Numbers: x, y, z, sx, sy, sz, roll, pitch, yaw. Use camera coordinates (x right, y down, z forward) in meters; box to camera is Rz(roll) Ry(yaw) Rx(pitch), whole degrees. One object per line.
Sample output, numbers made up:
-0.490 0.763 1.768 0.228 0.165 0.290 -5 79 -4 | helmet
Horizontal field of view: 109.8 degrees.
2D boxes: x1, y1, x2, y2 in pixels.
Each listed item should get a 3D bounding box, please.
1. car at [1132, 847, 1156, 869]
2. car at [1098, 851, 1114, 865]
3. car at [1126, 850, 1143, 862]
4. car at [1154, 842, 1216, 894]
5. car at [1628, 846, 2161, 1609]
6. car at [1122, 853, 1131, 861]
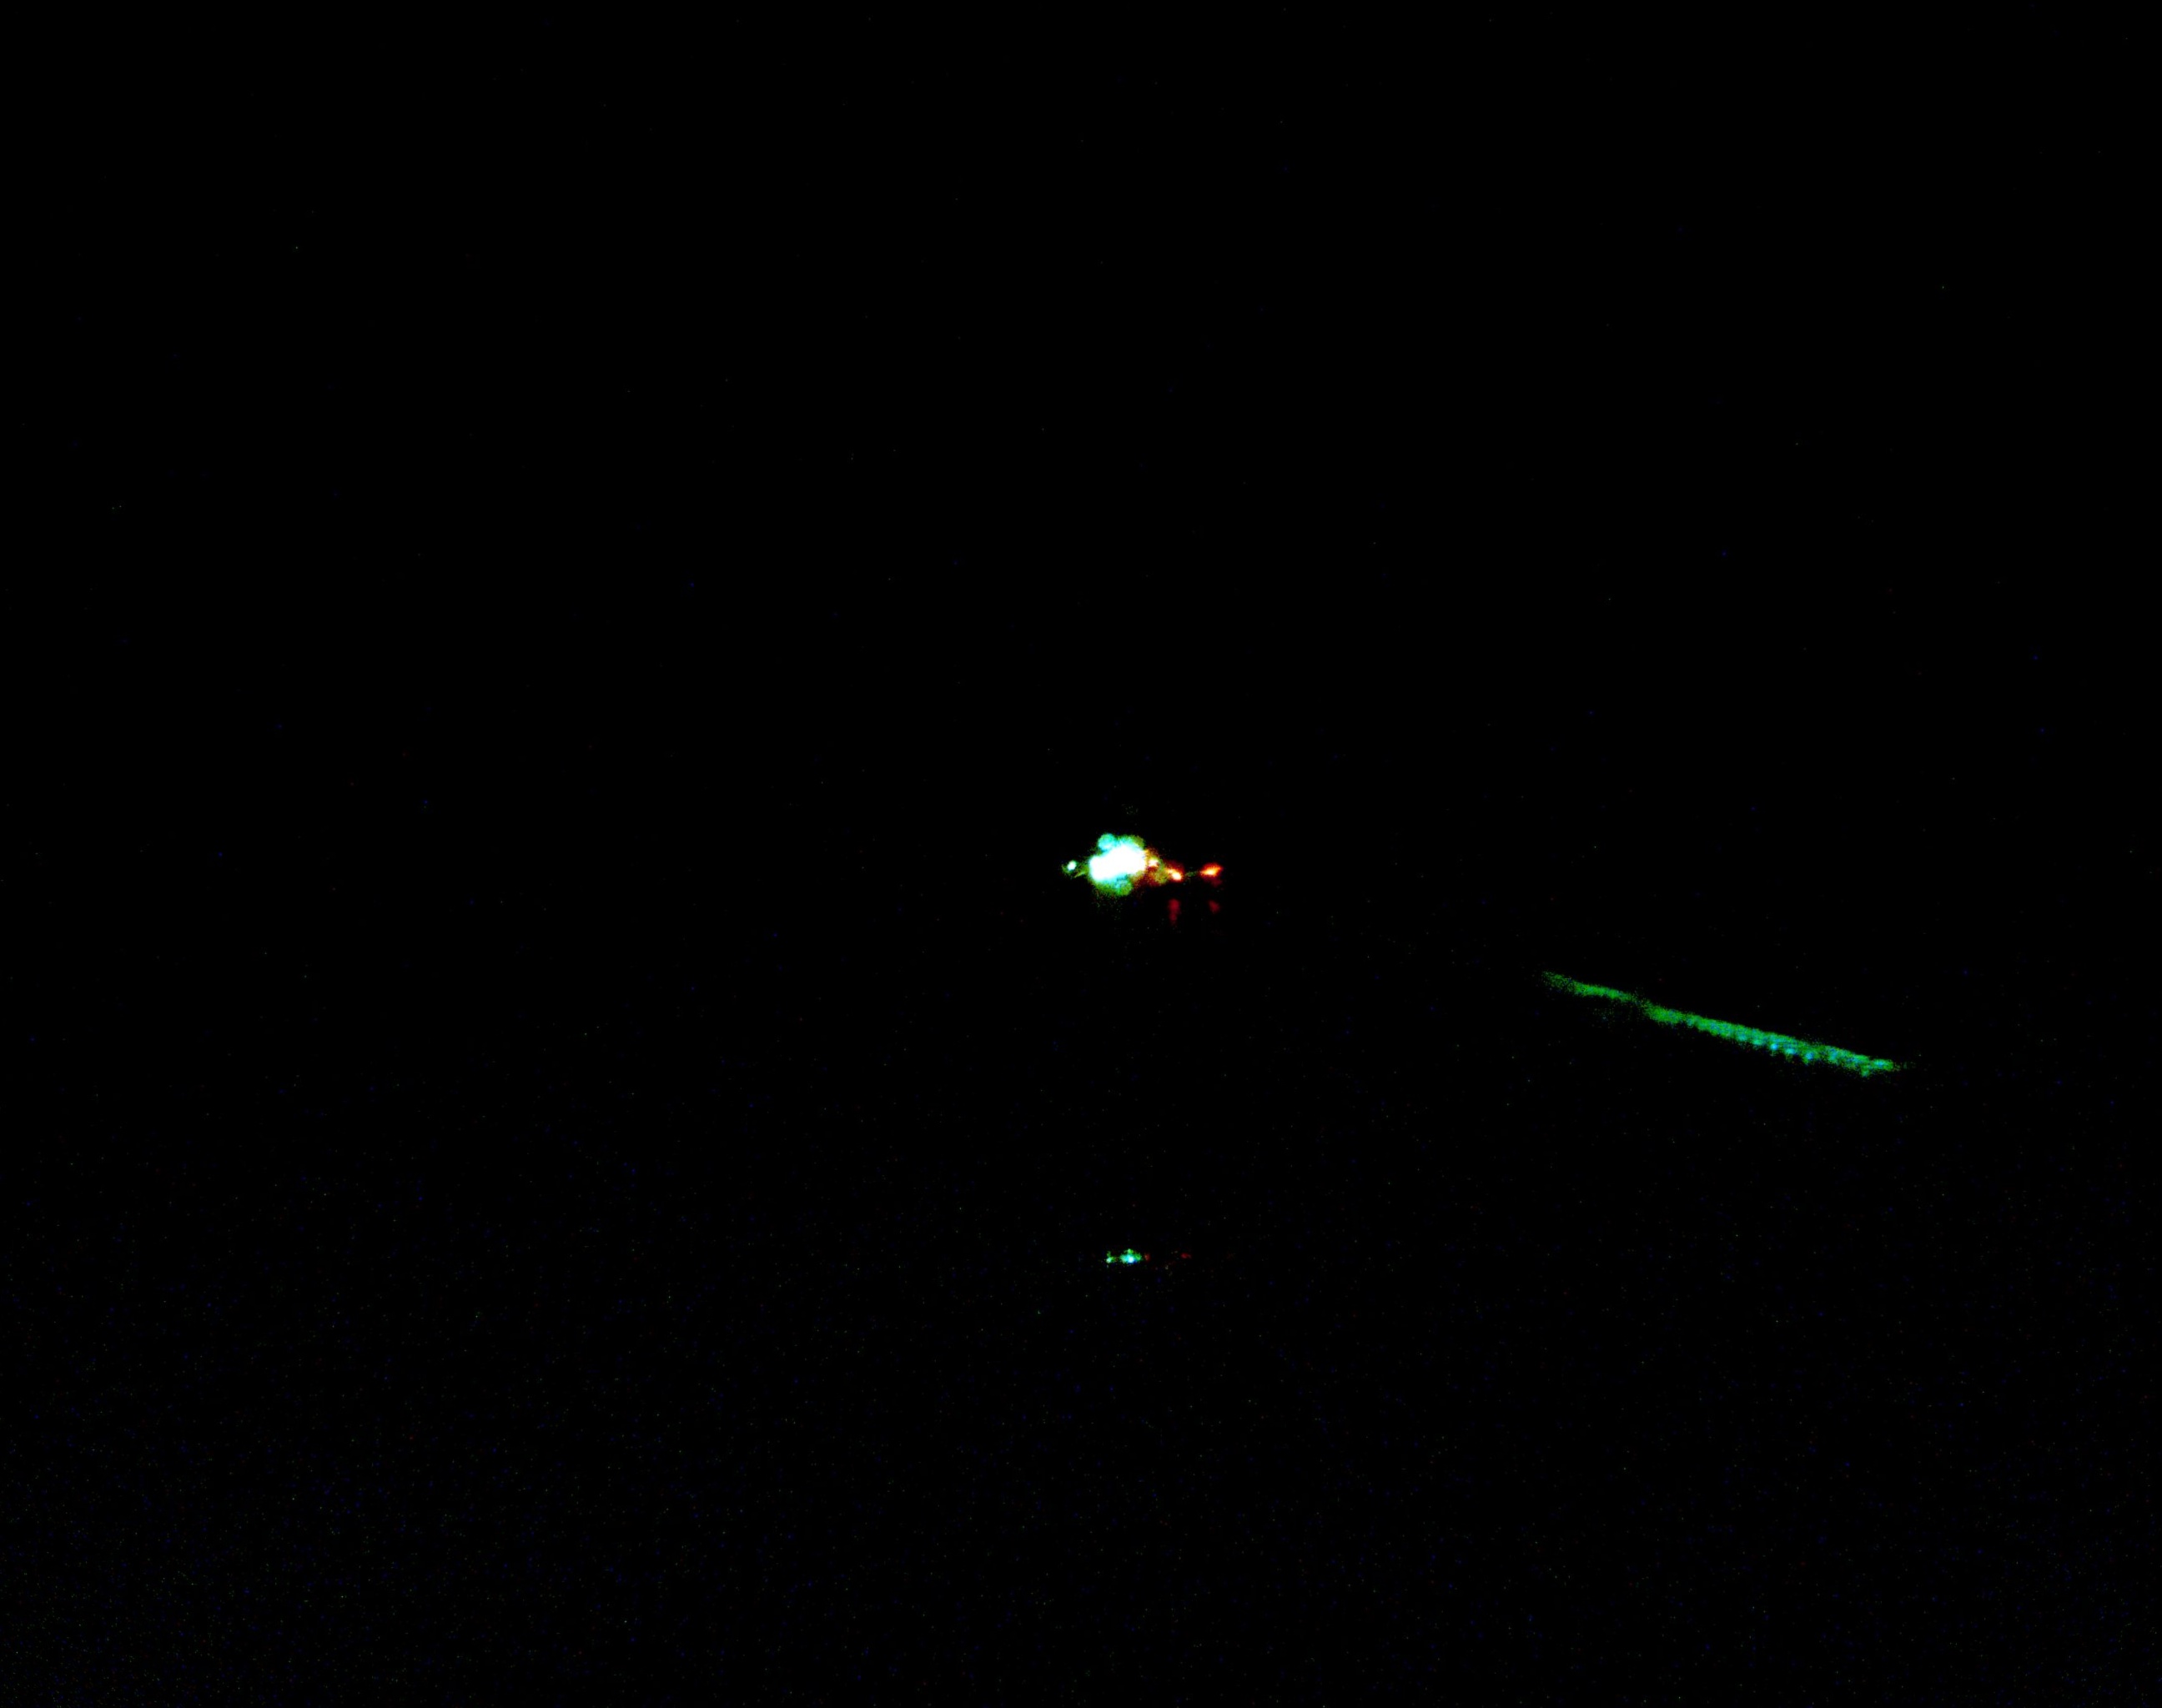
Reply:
5.398 0.324 65.448 1.746 1.749 3.878 -2 0 1 | car
3.084 0.456 92.326 1.746 1.624 3.737 -2 0 4 | car
6.907 0.228 98.236 1.998 1.385 4.596 -2 0 4 | car
3.887 0.492 28.941 1.747 1.812 3.877 -2 0 0 | car
3.219 0.795 1.112 1.890 1.567 4.049 -2 0 0 | car
10.286 0.664 173.133 1.747 1.624 3.735 -2 0 0 | car
